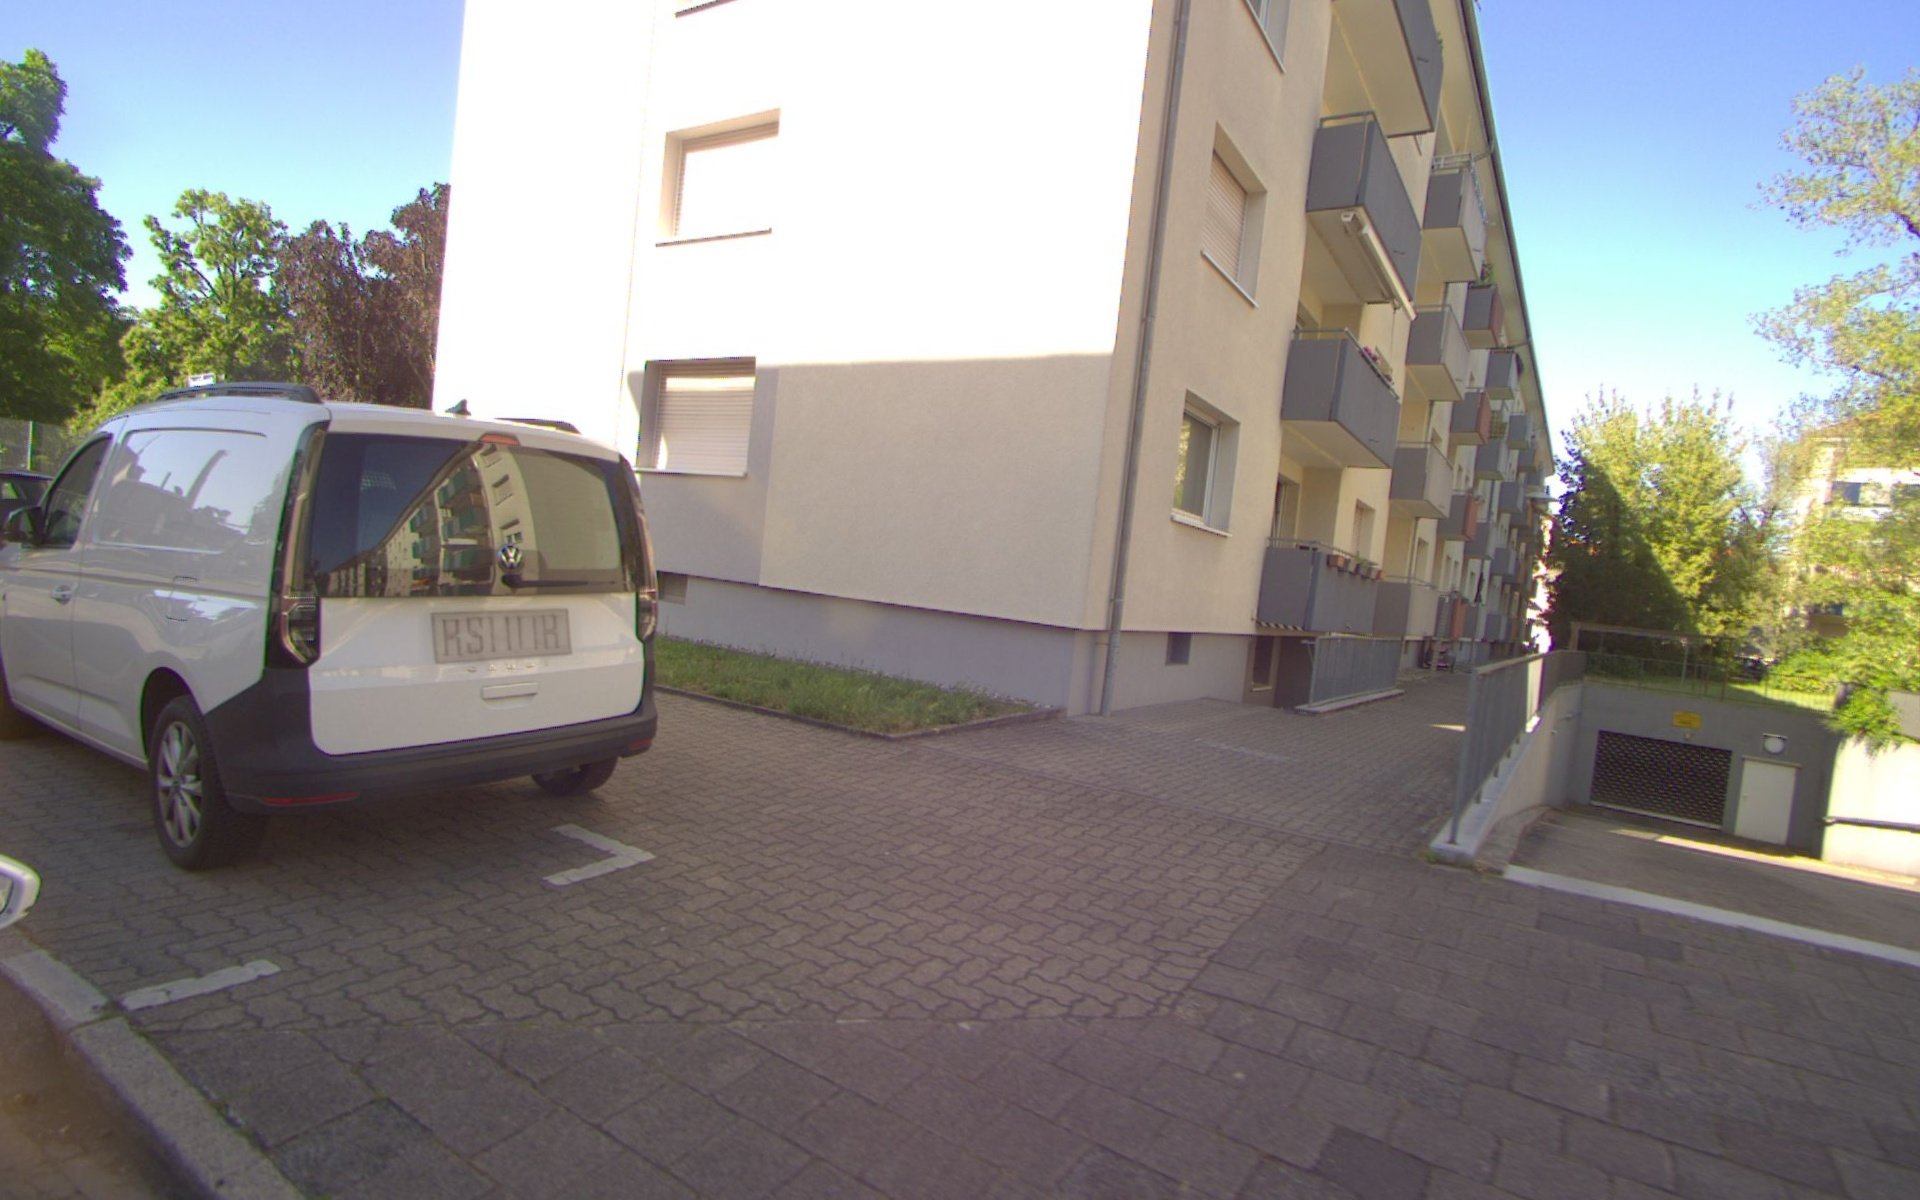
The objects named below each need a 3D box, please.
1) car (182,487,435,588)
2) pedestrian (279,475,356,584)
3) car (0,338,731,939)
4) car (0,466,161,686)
[{"bbox_3d":[-13.385,-1.236,20.931,1.595,1.568,4.077,7,1,29],"label":"car"},{"bbox_3d":[-11.368,-1.239,17.820,0.636,1.795,0.839,8,3,30],"label":"pedestrian"},{"bbox_3d":[-3.443,-0.095,5.097,4.466,1.872,1.795,7,5,34],"label":"car"},{"bbox_3d":[-8.020,-0.346,7.659,3.981,1.435,1.796,7,5,32],"label":"car"}]
